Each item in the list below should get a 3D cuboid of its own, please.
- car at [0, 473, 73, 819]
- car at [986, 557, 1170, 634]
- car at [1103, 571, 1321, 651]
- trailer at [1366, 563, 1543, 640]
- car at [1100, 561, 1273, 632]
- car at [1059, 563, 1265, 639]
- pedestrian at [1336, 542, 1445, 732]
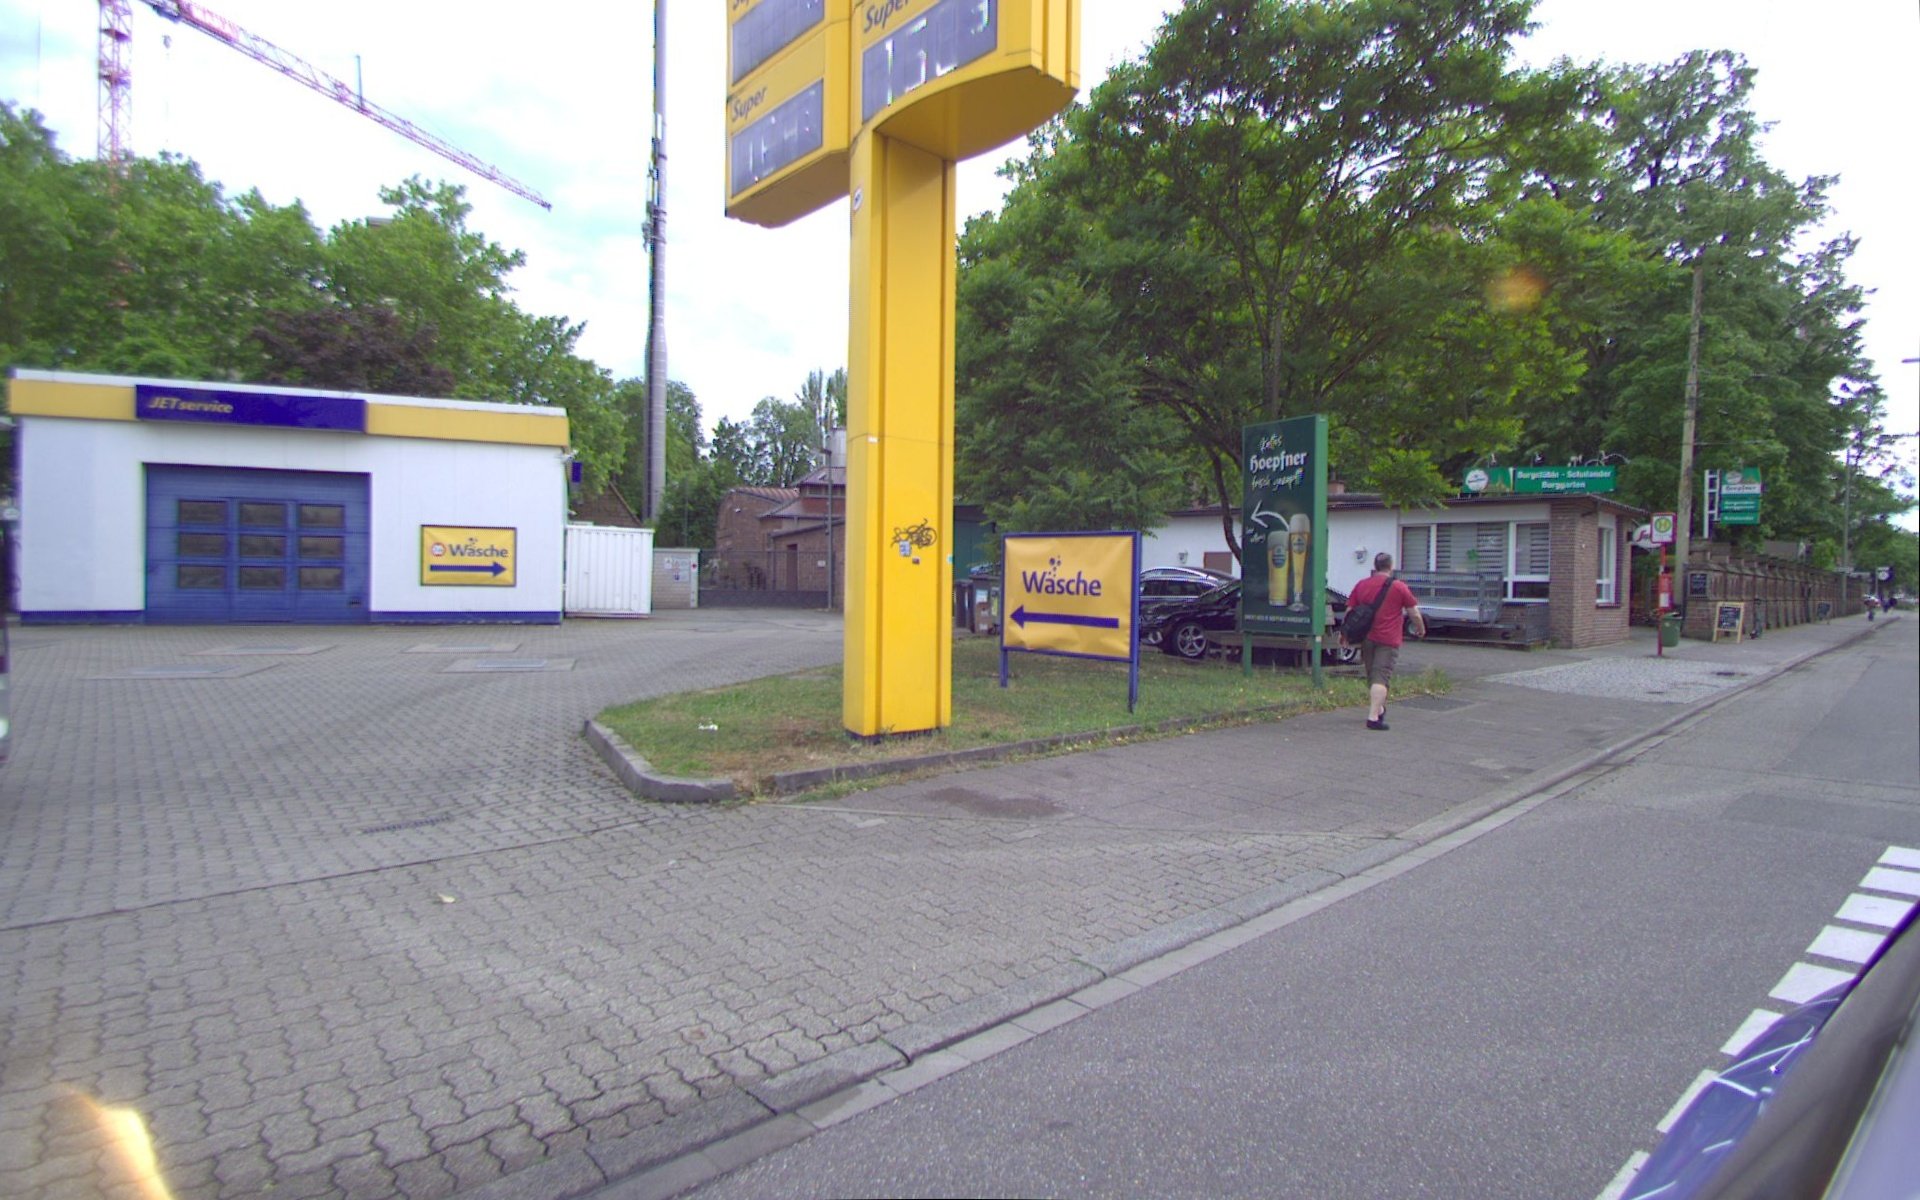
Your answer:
[{"bbox_3d":[-7.450,0.143,5.669,4.476,1.865,1.973,3,2,22],"label":"car"},{"bbox_3d":[2.718,-0.125,23.769,3.943,1.717,1.815,0,0,-8],"label":"car"},{"bbox_3d":[4.662,0.151,18.484,3.930,1.304,1.997,-1,1,-41],"label":"car"},{"bbox_3d":[11.390,-0.041,23.419,1.745,1.549,3.286,-3,5,-44],"label":"trailer"},{"bbox_3d":[5.827,-0.107,26.314,1.967,1.688,3.990,-1,1,-44],"label":"car"},{"bbox_3d":[4.210,0.006,21.449,3.921,1.536,1.828,0,0,-4],"label":"car"},{"bbox_3d":[4.277,0.327,10.138,0.859,1.768,0.845,3,3,20],"label":"pedestrian"}]
